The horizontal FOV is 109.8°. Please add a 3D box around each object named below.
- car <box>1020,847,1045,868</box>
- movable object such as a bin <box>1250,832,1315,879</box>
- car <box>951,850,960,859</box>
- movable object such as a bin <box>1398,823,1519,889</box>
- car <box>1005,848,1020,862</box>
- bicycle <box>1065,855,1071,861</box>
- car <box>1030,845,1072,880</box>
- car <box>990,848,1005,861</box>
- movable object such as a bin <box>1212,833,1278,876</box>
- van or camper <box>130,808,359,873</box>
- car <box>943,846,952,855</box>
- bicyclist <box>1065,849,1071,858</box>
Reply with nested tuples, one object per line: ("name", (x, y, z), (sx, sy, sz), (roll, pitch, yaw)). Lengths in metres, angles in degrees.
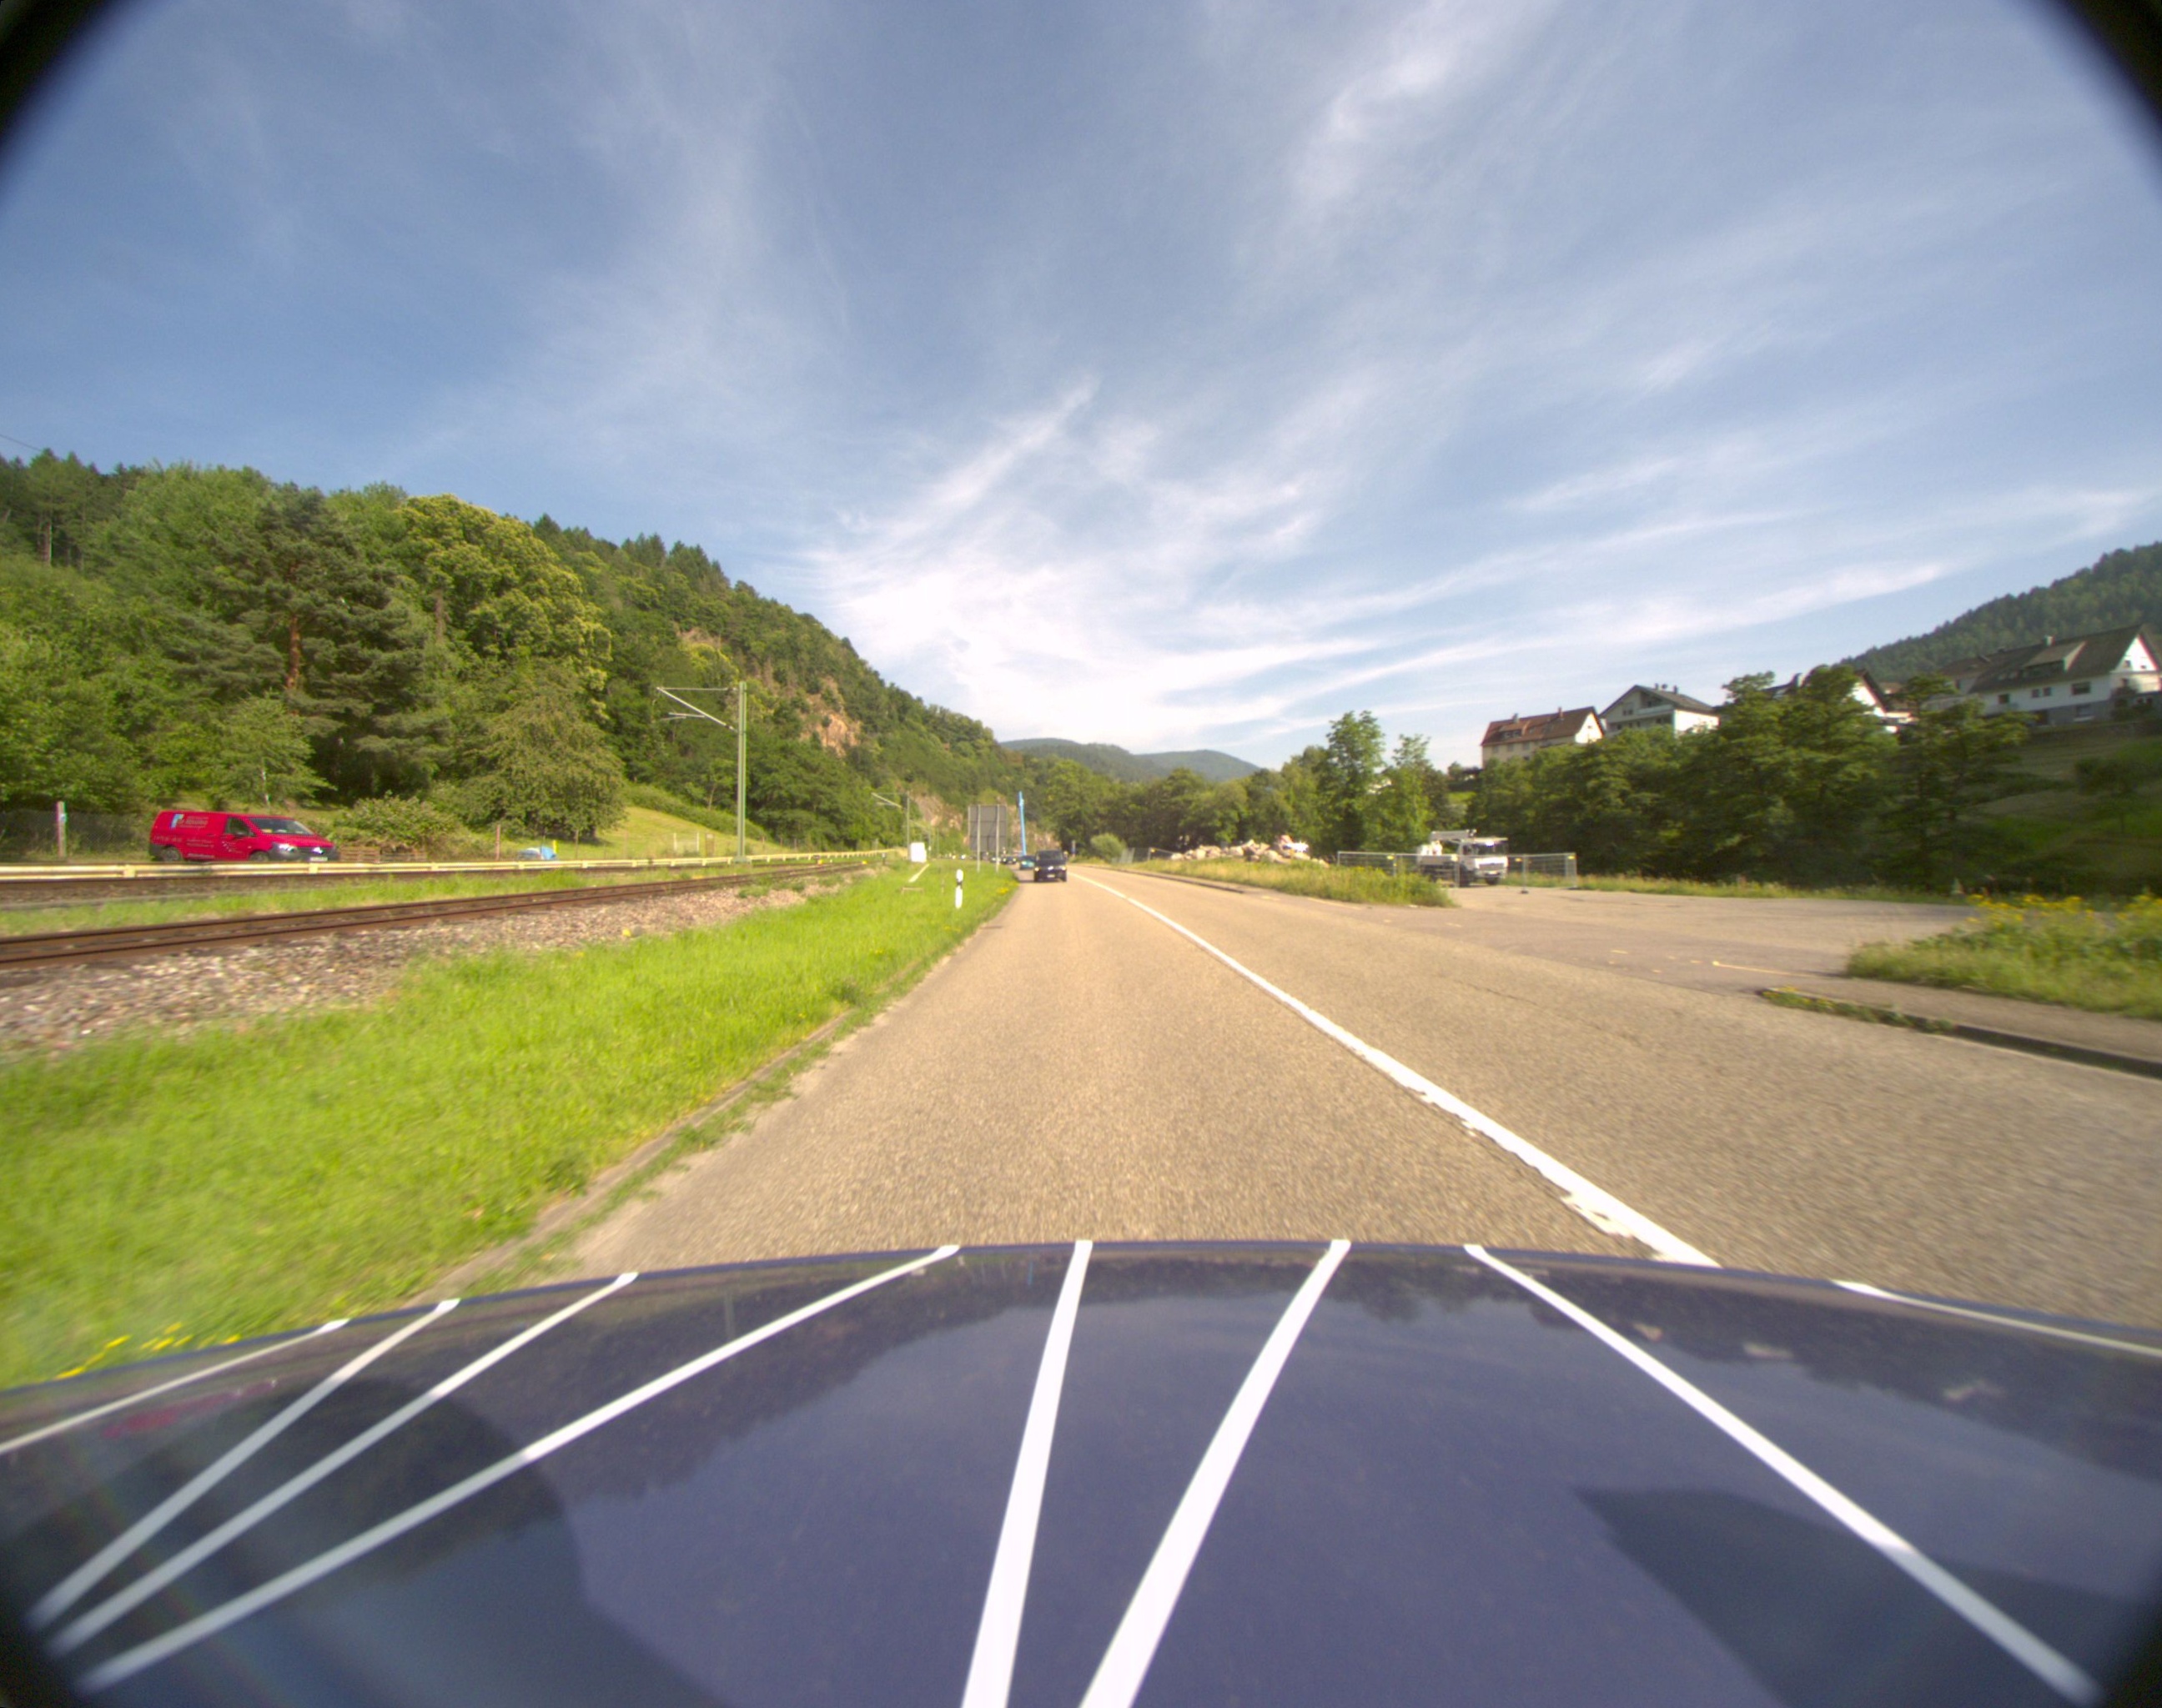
("car", (-4.962, 0.329, 77.563), (2.001, 2.002, 3.995), (2, 0, -12))
("movable object such as a bin", (17.946, 0.077, 68.149), (2.731, 3.924, 7.222), (2, 0, -11))
("car", (-31.835, 0.100, 193.005), (2.000, 2.002, 3.998), (2, 0, -6))
("movable object such as a bin", (24.492, 0.079, 49.841), (2.908, 3.924, 7.800), (2, 0, -11))
("car", (-9.877, 0.169, 109.539), (1.999, 2.002, 3.998), (2, 0, -4))
("bicycle", (-1.852, 0.565, 105.991), (0.541, 0.876, 2.250), (-2, 1, -10))
("car", (-1.833, 0.559, 45.457), (2.000, 2.001, 3.998), (1, -2, -10))
("car", (-14.083, 0.083, 127.971), (2.001, 2.002, 3.995), (2, 0, -13))
("movable object such as a bin", (16.321, 0.001, 76.602), (2.709, 3.924, 9.979), (2, 0, -11))
("van or camper", (-27.706, -0.426, 25.286), (5.429, 1.918, 2.121), (2, 0, 3))
("car", (-32.217, -0.789, 183.304), (2.000, 2.002, 3.996), (2, 0, -10))
("bicyclist", (-1.857, -0.099, 105.947), (0.686, 1.218, 0.857), (-1, 1, -10))
